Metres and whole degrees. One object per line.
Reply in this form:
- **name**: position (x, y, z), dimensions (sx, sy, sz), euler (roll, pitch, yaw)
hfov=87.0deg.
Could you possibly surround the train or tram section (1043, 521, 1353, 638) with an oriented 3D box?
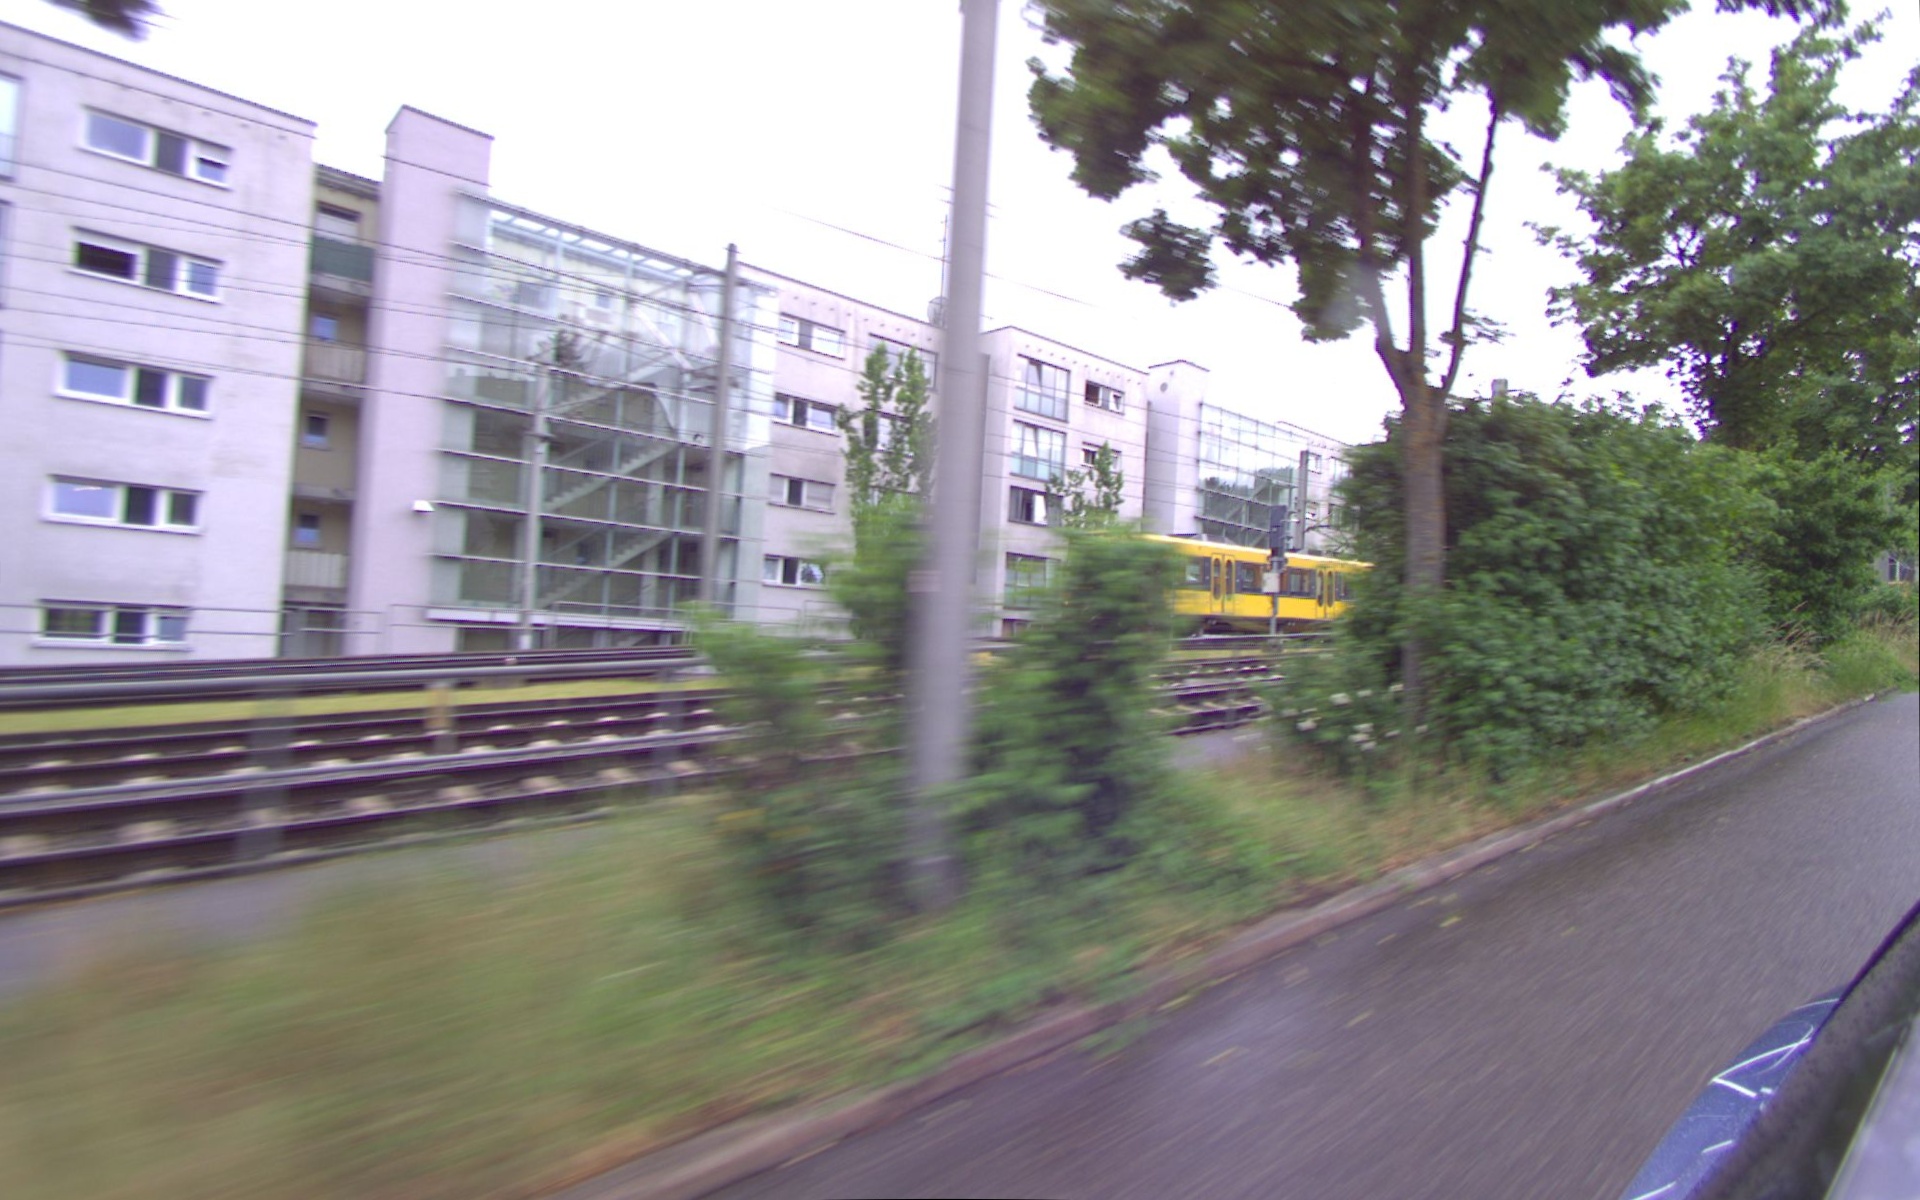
- **train or tram section**: position (9.193, -0.647, 36.949), dimensions (14.246, 3.606, 3.203), euler (0, 0, -40)

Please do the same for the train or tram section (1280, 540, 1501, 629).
- **train or tram section**: position (20.056, -0.623, 46.237), dimensions (14.594, 3.542, 3.112), euler (0, 0, -40)
